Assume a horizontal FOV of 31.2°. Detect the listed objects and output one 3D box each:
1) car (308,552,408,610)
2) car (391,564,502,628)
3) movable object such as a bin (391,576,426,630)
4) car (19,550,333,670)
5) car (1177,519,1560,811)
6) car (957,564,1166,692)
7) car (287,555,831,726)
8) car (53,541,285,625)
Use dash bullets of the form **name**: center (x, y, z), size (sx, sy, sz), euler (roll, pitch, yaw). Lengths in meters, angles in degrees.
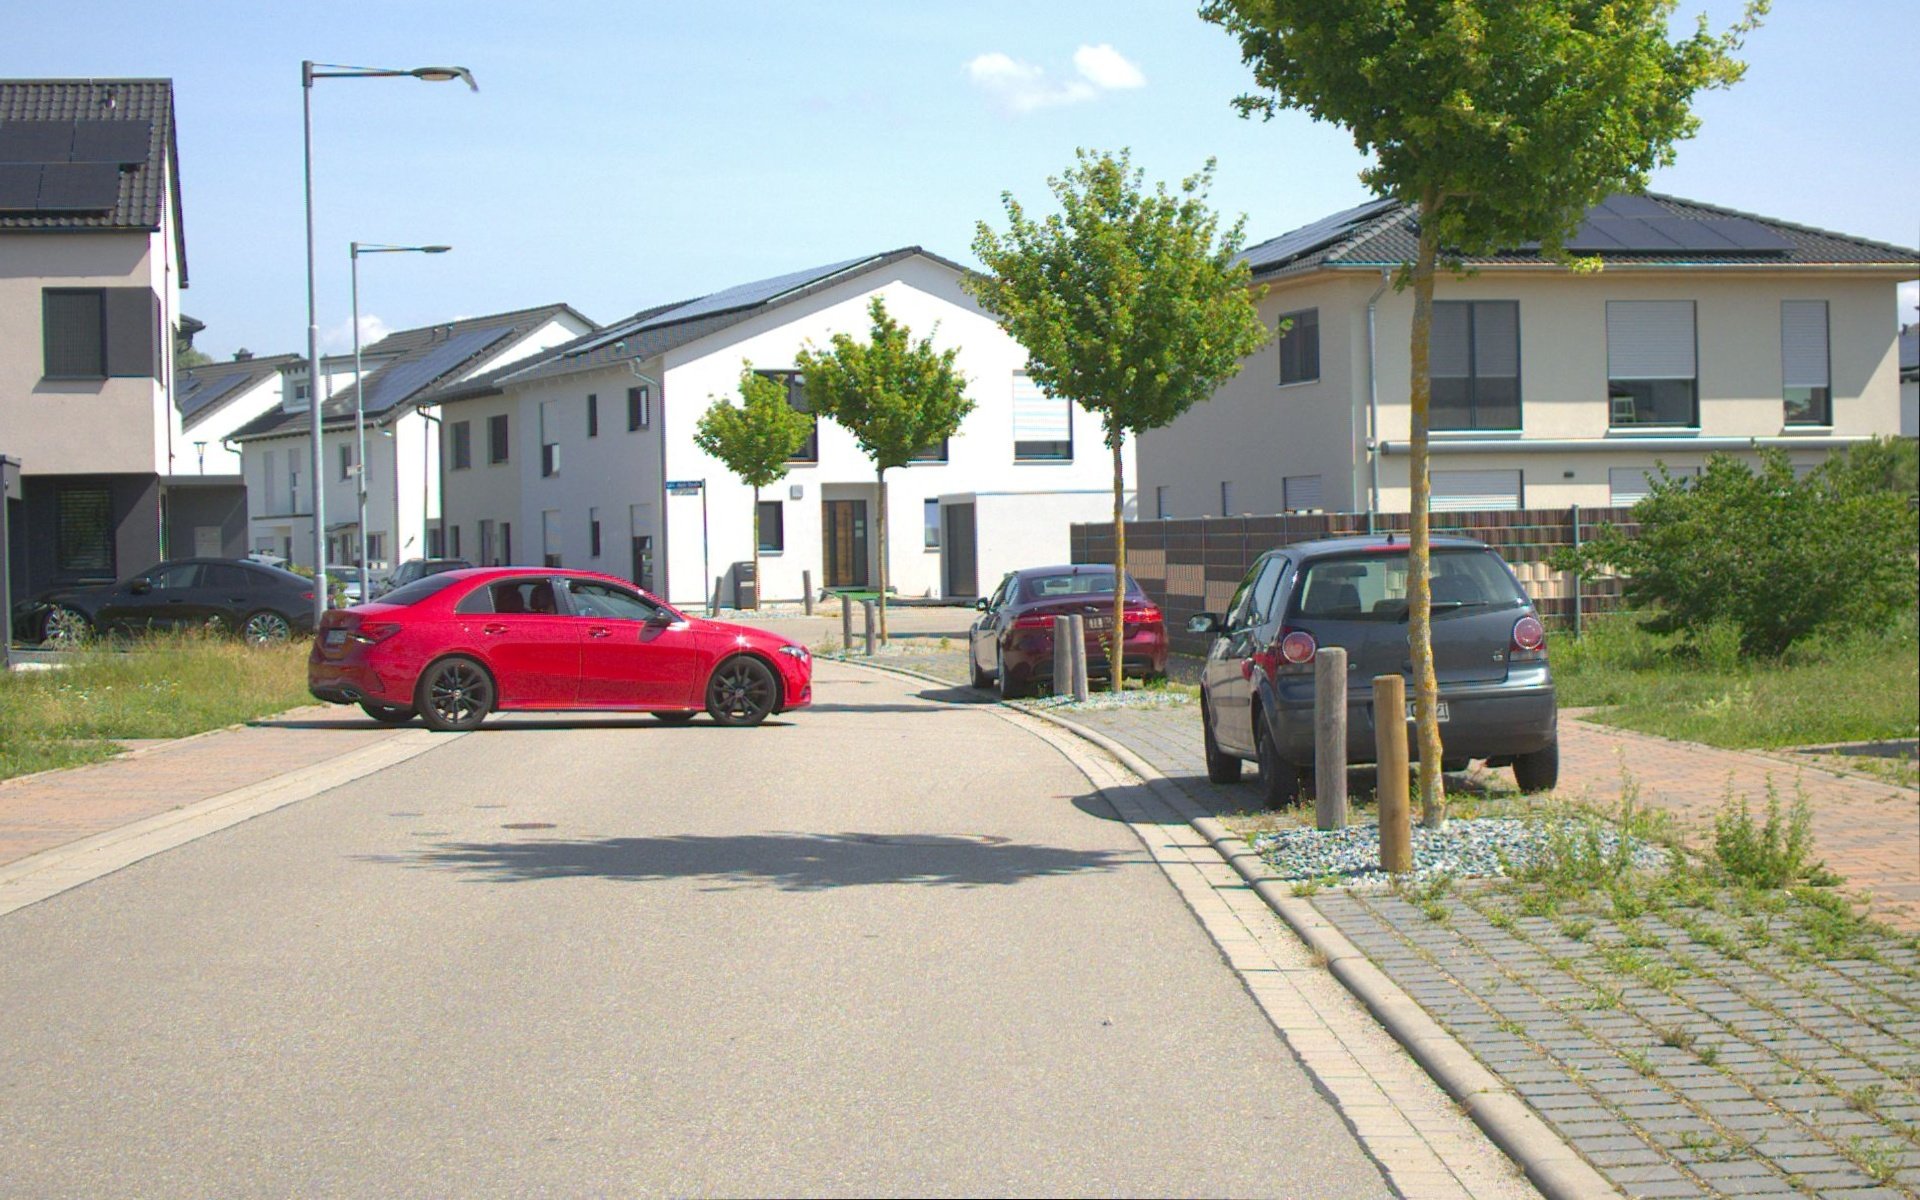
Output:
- **car**: center (-15.823, -0.498, 90.271), size (1.676, 1.459, 3.945), euler (-2, 1, -23)
- **car**: center (-12.120, -0.100, 80.981), size (1.726, 1.418, 4.001), euler (-2, 1, -21)
- **movable object such as a bin**: center (-9.790, 0.049, 61.018), size (0.534, 0.933, 0.526), euler (1, 1, 0)
- **car**: center (-11.510, 0.142, 50.699), size (4.374, 1.626, 1.771), euler (1, 0, -9)
- **car**: center (2.283, 0.316, 20.042), size (1.598, 1.470, 3.675), euler (-3, 1, -2)
- **car**: center (1.088, 0.276, 39.007), size (1.754, 1.358, 4.576), euler (0, 1, -6)
- **car**: center (-3.568, 0.319, 30.776), size (4.504, 1.433, 1.768), euler (0, 1, -29)
- **car**: center (-14.522, -0.330, 63.289), size (3.986, 1.481, 1.755), euler (-1, 1, -7)
